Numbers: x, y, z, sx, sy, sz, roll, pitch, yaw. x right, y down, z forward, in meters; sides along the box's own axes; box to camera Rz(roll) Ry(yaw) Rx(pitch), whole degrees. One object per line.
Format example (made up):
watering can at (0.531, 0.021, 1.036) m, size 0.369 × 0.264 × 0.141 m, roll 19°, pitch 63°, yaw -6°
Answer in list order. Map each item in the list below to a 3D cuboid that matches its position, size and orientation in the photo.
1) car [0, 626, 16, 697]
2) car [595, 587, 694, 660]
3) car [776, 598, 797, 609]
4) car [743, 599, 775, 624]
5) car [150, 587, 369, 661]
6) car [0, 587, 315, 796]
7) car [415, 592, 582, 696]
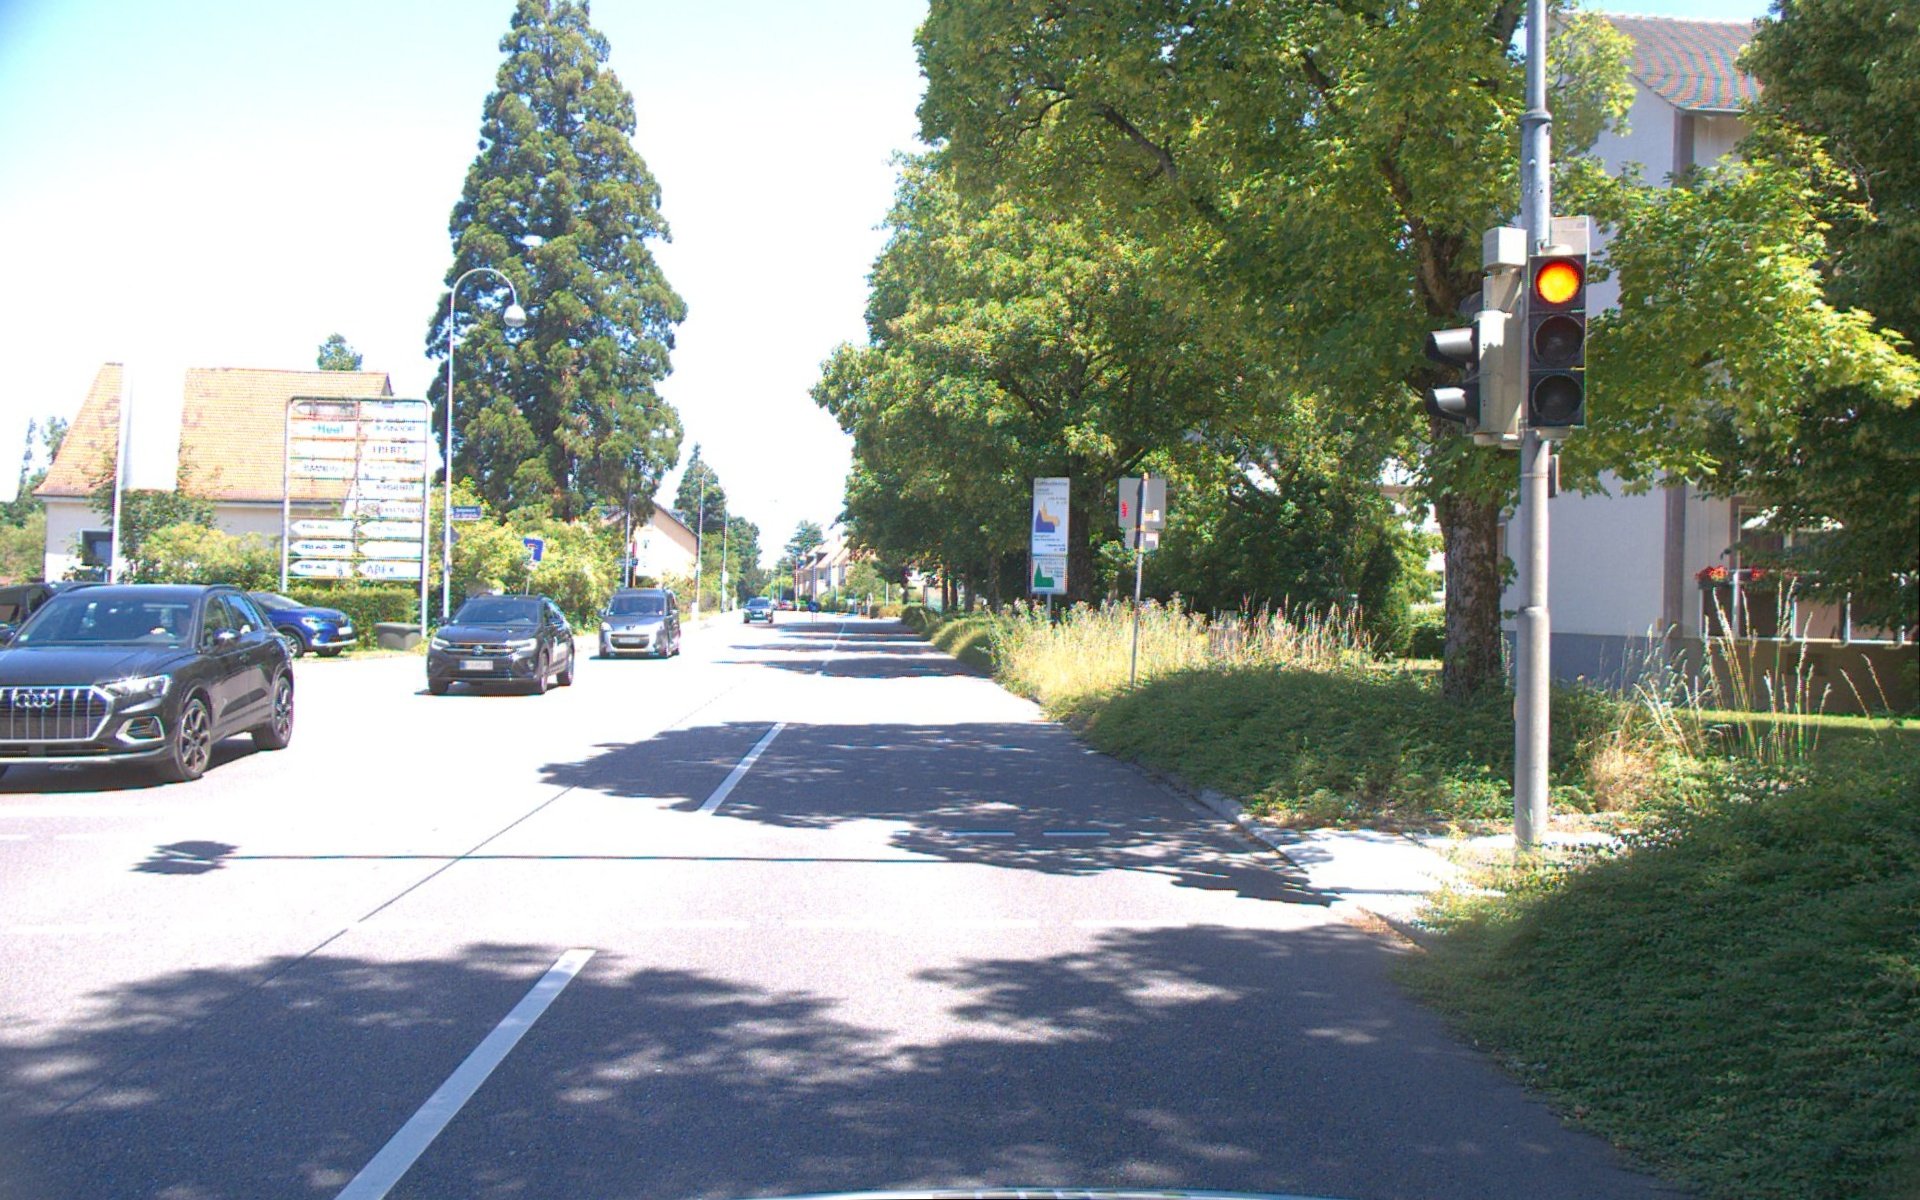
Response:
car at (-24.718, 1.533, 40.072) m, size 1.775 × 1.752 × 4.081 m, roll 1°, pitch 0°, yaw -8°
car at (-8.168, 0.578, 43.145) m, size 1.774 × 1.793 × 4.569 m, roll 1°, pitch 0°, yaw -1°
car at (-23.788, 0.463, 226.993) m, size 1.914 × 1.383 × 4.439 m, roll 0°, pitch 0°, yaw -19°
car at (-12.895, 0.713, 106.457) m, size 1.758 × 1.563 × 4.312 m, roll 1°, pitch 0°, yaw -3°
car at (-15.194, 0.509, 35.970) m, size 4.047 × 1.531 × 1.779 m, roll 0°, pitch 0°, yaw 8°
car at (-7.268, 0.690, 14.662) m, size 1.890 × 1.582 × 4.295 m, roll 0°, pitch 0°, yaw -8°
car at (-7.278, 0.648, 26.482) m, size 1.832 × 1.533 × 4.049 m, roll 0°, pitch 0°, yaw -5°
